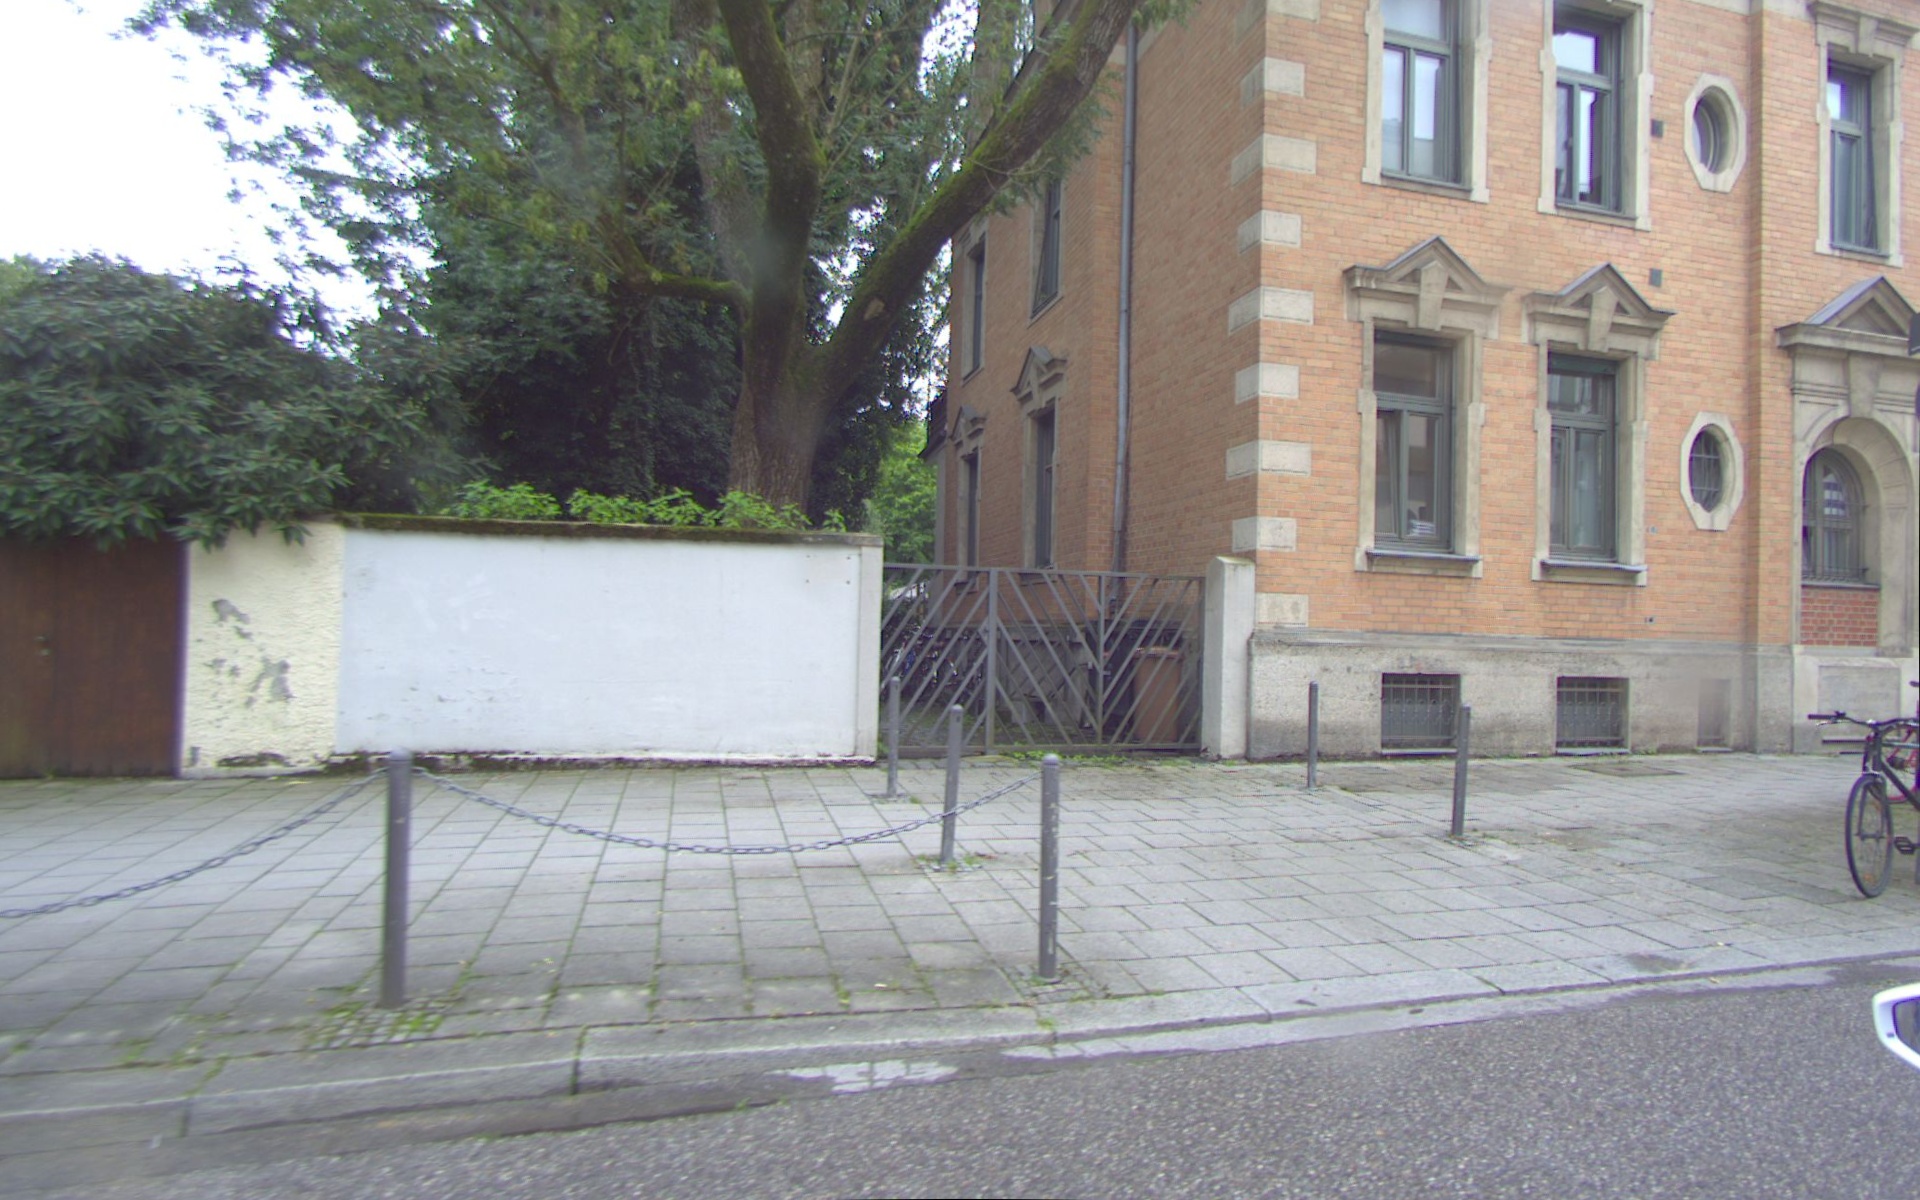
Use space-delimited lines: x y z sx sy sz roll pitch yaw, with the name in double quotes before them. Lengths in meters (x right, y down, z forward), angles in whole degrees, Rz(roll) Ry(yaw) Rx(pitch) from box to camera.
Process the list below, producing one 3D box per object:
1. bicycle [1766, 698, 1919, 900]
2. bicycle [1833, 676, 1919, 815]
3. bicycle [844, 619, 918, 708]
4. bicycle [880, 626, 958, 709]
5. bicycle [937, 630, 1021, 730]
"bicycle" 5.768 1.144 5.958 1.732 1.068 0.580 2 -2 -12
"bicycle" 8.451 1.217 8.503 1.861 1.068 0.580 2 -1 -12
"bicycle" -1.262 0.951 15.522 0.528 1.268 2.292 2 -2 -20
"bicycle" -0.679 1.017 15.713 0.528 1.195 2.292 2 -2 -20
"bicycle" 0.214 1.019 13.385 0.527 1.235 2.076 2 -2 -15
